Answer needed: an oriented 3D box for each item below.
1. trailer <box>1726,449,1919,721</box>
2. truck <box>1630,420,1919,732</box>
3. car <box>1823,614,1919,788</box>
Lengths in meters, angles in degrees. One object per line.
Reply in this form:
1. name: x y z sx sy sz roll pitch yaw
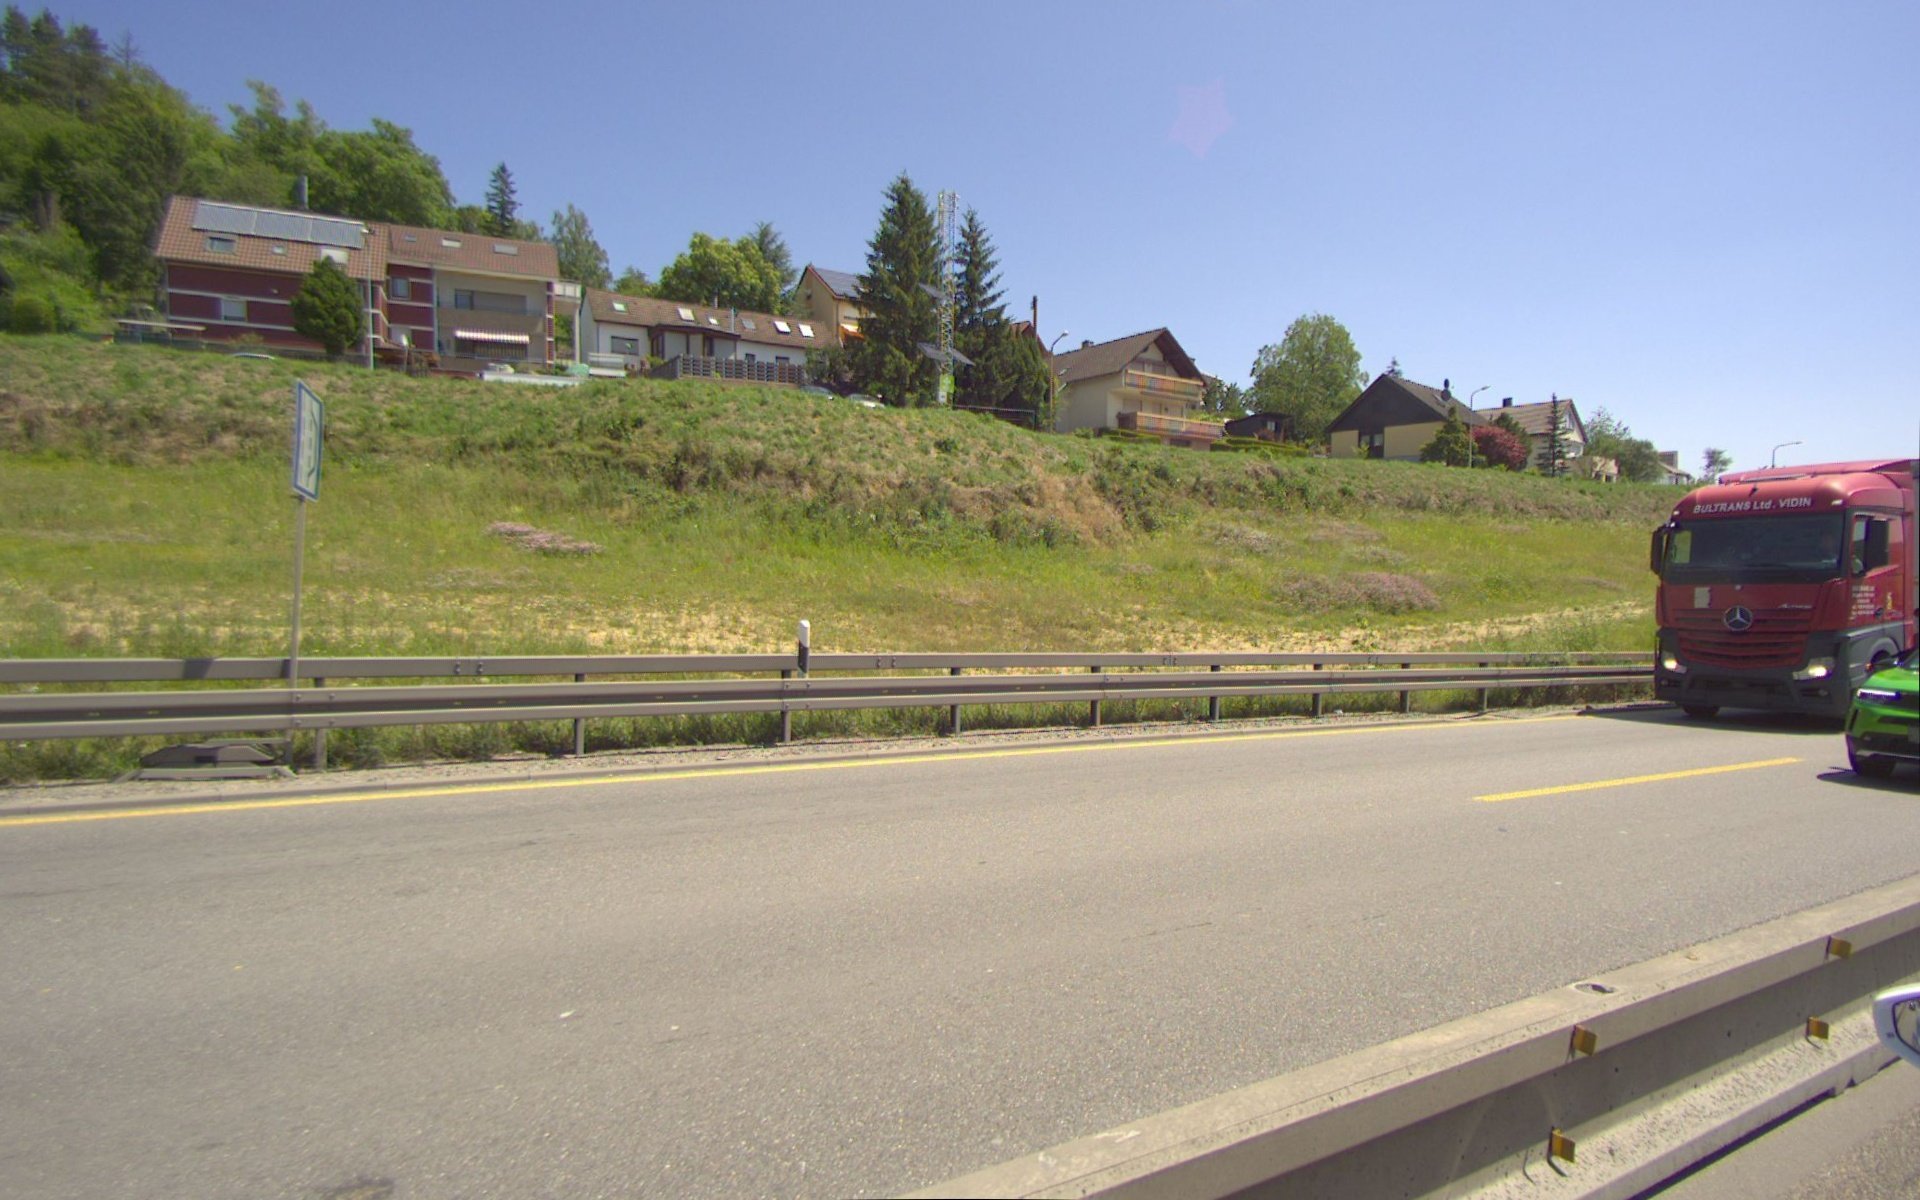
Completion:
1. trailer: 19.877 -0.099 19.794 13.282 4.179 2.842 1 0 -31
2. truck: 13.290 -0.284 15.834 4.545 4.179 2.807 1 0 -31
3. car: 10.408 0.974 9.840 3.953 1.528 1.745 1 2 -31
